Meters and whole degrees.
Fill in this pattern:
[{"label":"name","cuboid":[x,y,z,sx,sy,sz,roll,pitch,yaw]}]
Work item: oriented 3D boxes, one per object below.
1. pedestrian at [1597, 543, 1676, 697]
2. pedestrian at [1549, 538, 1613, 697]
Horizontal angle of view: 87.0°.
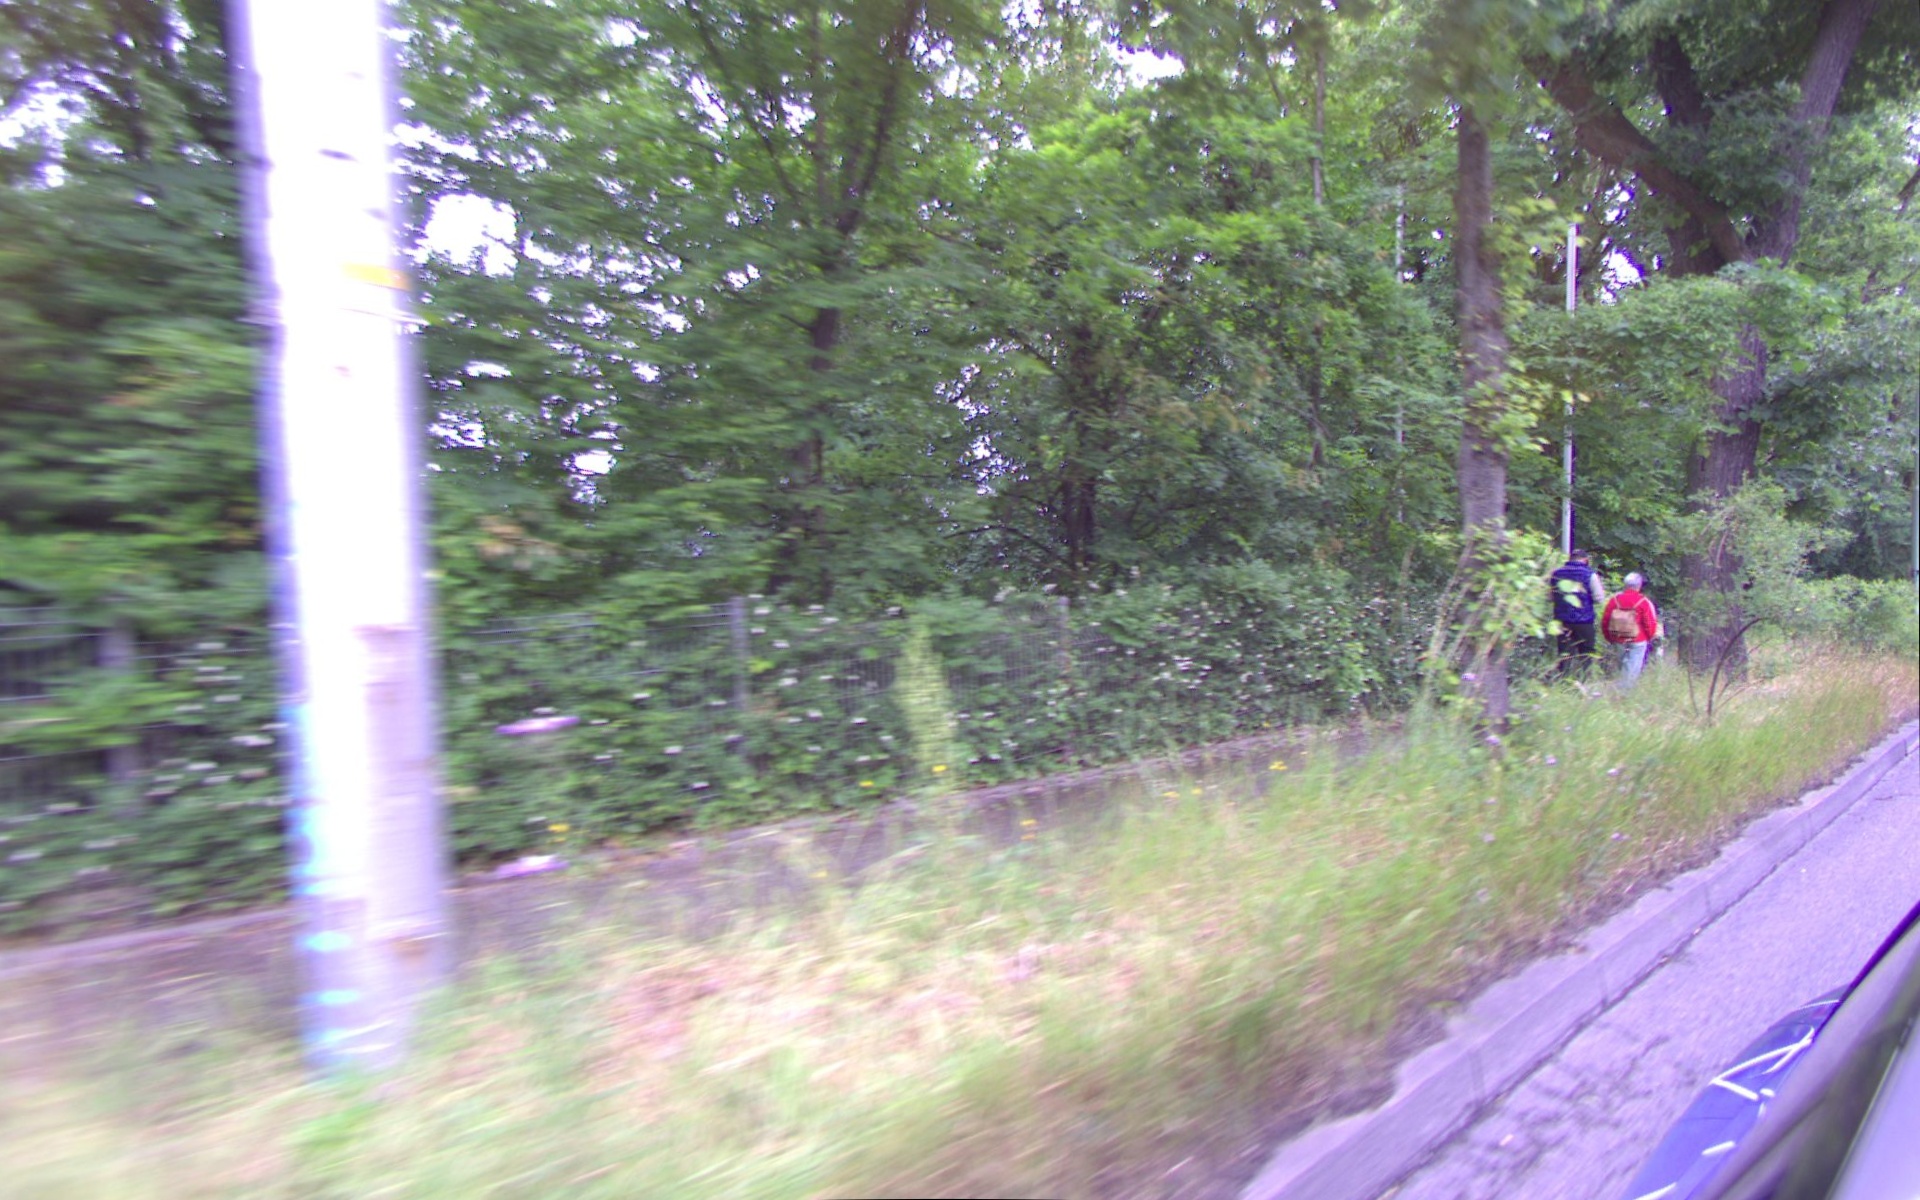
[{"label":"pedestrian","cuboid":[7.839,0.207,11.730,0.540,1.718,0.609,0,2,-44]},{"label":"pedestrian","cuboid":[7.155,0.186,11.666,0.516,1.775,0.519,0,1,-44]}]
